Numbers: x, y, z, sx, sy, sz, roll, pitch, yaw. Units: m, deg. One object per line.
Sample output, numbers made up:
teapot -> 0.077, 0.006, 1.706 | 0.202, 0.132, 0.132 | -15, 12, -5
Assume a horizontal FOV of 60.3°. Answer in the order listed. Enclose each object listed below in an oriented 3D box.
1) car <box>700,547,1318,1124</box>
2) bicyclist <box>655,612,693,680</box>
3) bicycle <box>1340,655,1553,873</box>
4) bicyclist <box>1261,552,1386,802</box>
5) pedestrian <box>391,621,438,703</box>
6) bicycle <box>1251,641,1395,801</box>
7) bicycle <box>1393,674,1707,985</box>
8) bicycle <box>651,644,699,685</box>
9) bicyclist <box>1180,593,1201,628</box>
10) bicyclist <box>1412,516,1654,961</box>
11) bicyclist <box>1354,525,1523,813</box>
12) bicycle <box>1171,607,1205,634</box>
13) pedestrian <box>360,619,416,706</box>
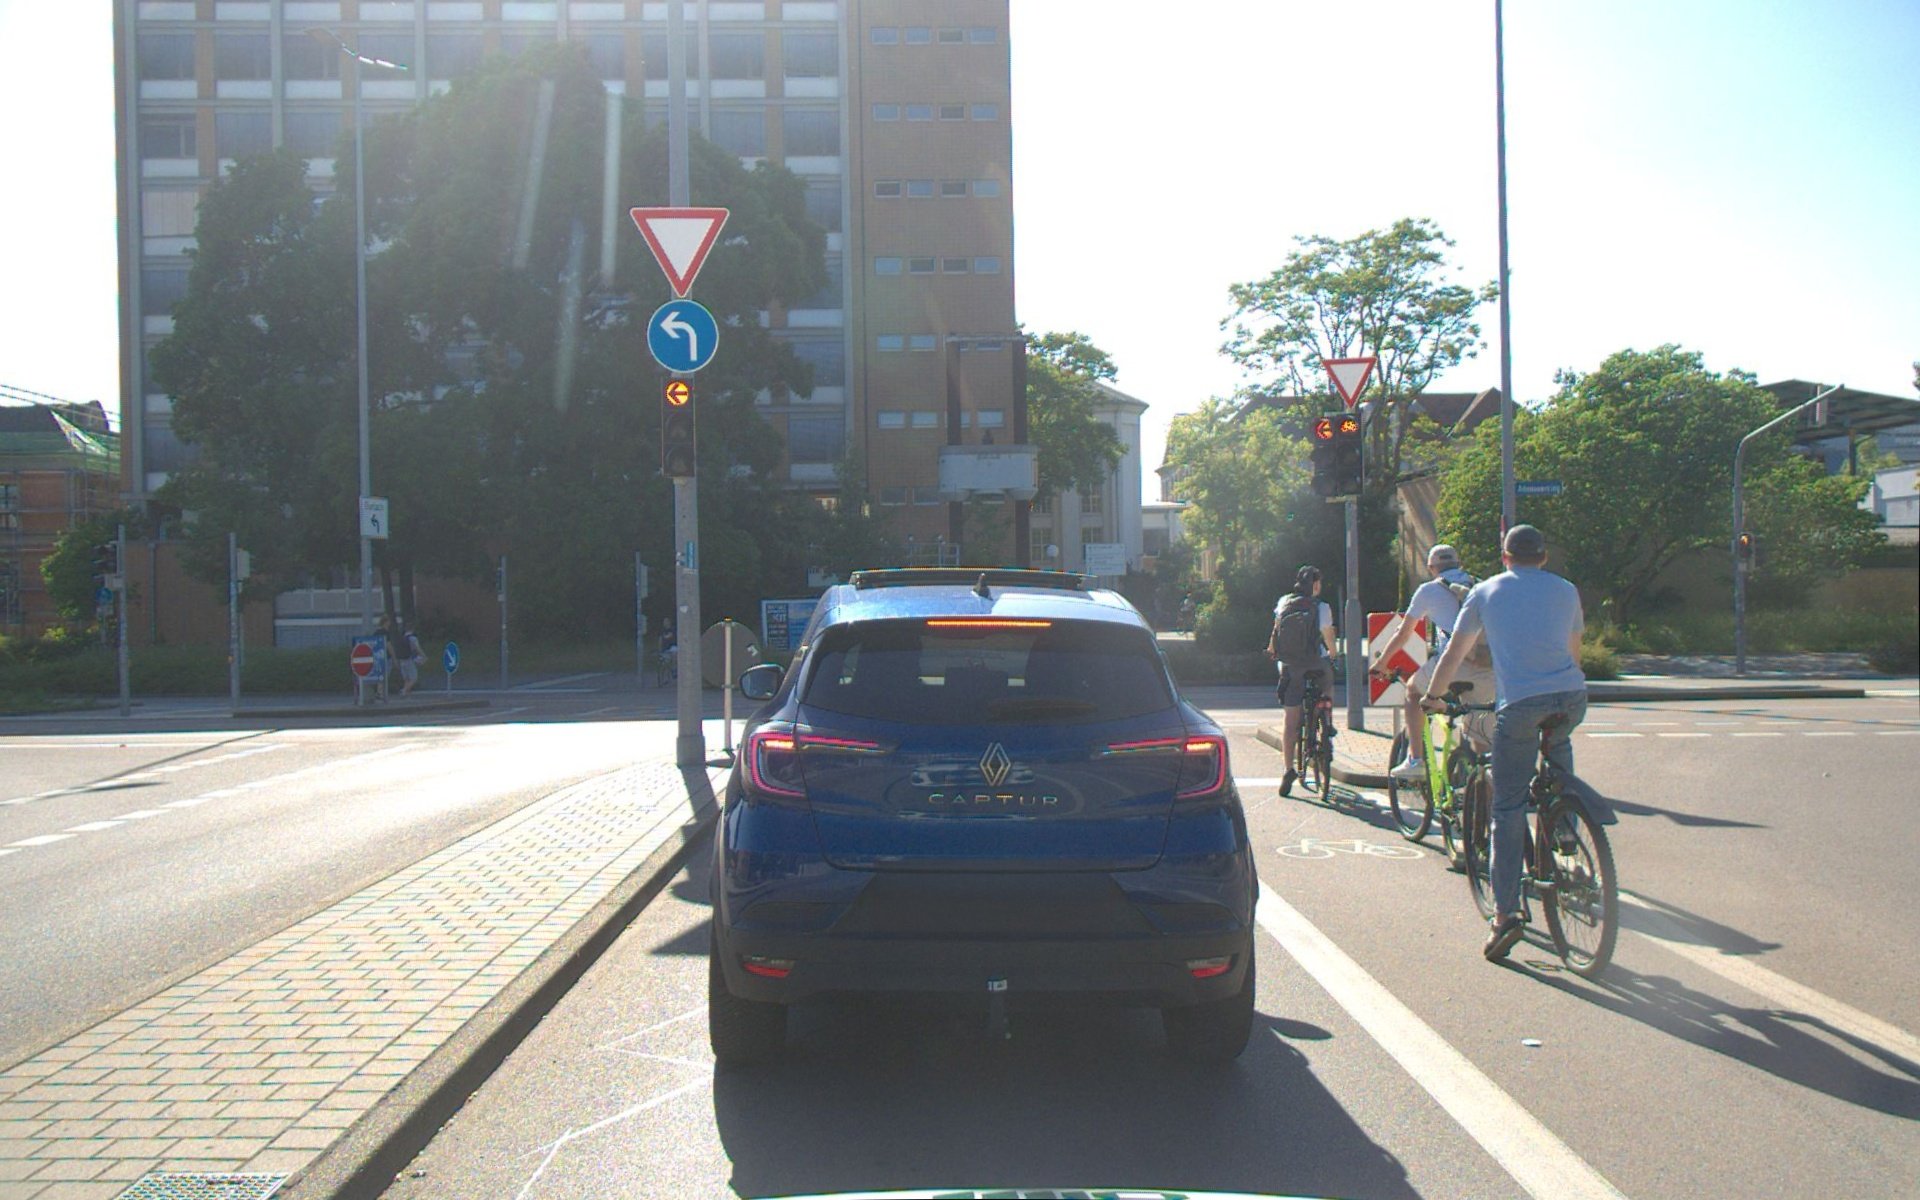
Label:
car -> 0.060, 0.664, 6.636 | 1.753, 1.613, 3.912 | 0, 0, -3
bicyclist -> -7.545, 1.202, 43.658 | 0.739, 1.746, 0.999 | -1, 0, 5
bicycle -> 2.835, 0.911, 9.846 | 0.675, 1.108, 1.922 | 0, 0, -1
bicyclist -> 2.756, 0.562, 12.639 | 0.685, 1.822, 1.142 | 0, 0, -1
pedestrian -> -11.944, 1.345, 36.243 | 0.666, 1.761, 0.761 | -1, 0, 13
bicycle -> 2.787, 0.898, 12.876 | 0.675, 1.108, 1.922 | 0, 0, -1
bicycle -> 2.511, 0.921, 7.295 | 0.675, 1.108, 1.922 | 0, 0, -1
bicycle -> -7.527, 1.701, 43.761 | 0.739, 1.002, 2.095 | -1, 0, 5
bicyclist -> 10.140, 0.455, 72.863 | 0.682, 1.507, 0.715 | -1, 0, -14
bicyclist -> 2.510, 0.570, 7.364 | 0.669, 1.822, 1.142 | 0, 0, -1
bicyclist -> 2.836, 0.390, 9.898 | 0.664, 1.622, 1.142 | 0, 0, -1
bicycle -> 10.083, 0.905, 73.256 | 0.682, 1.160, 2.433 | -1, 0, -13
pedestrian -> -12.698, 1.378, 36.713 | 0.796, 1.895, 0.910 | -1, 0, 13
